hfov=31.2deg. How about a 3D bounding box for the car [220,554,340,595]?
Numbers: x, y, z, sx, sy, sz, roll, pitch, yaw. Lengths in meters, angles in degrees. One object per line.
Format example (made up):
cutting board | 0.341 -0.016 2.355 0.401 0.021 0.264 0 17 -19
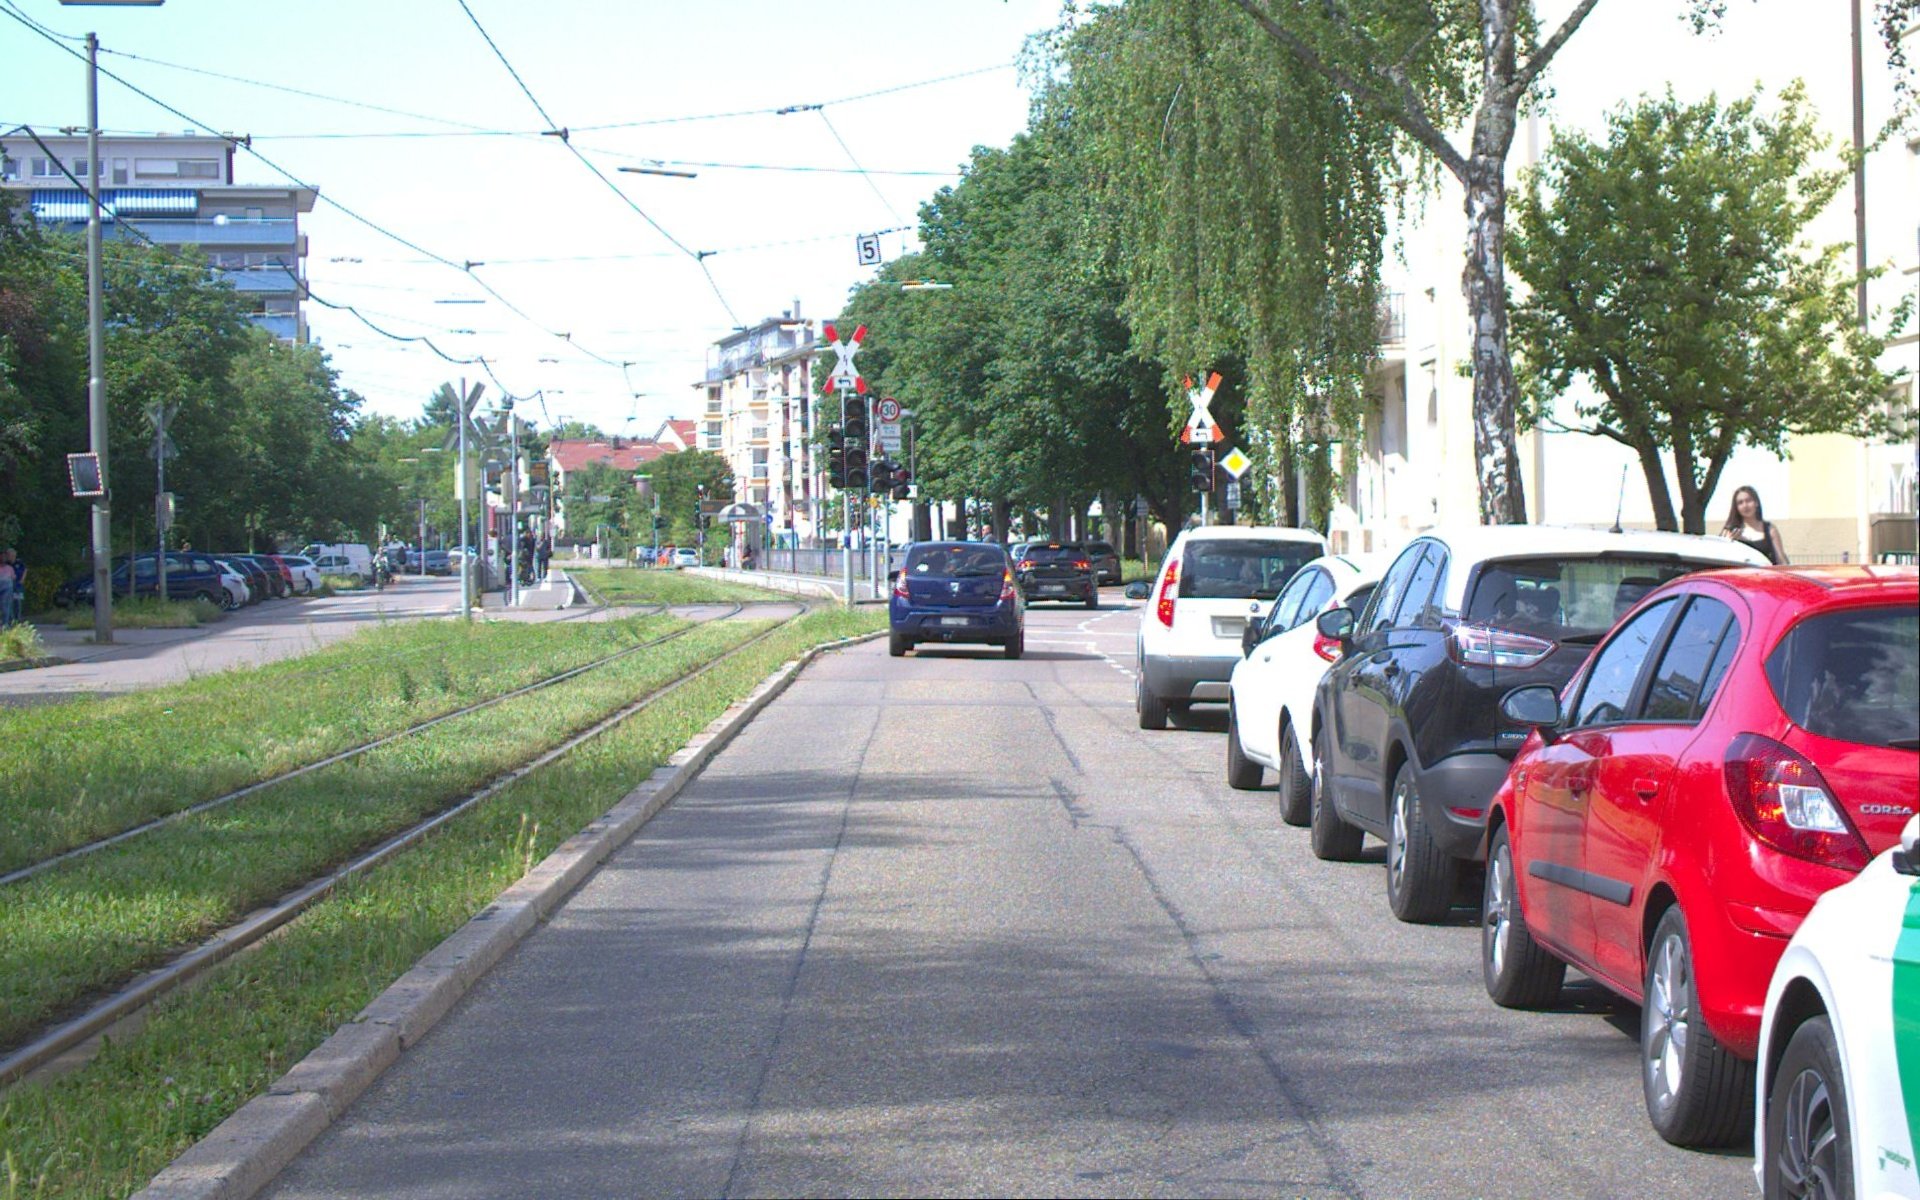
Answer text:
car | -24.842 -0.944 125.639 1.715 1.363 3.990 -1 1 43

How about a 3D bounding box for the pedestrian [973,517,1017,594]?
pedestrian | 0.813 -1.038 80.222 0.870 1.769 1.004 -2 1 -5

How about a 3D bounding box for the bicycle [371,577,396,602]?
bicycle | -22.703 -0.415 135.362 0.680 0.967 2.179 -2 1 -2

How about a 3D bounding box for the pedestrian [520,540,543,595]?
pedestrian | -14.027 -1.063 112.470 0.604 1.760 0.639 -1 1 3

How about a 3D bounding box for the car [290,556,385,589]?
car | -27.286 -1.197 150.724 1.638 1.381 3.991 0 1 39

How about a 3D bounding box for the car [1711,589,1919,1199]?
car | 2.400 0.764 5.159 1.619 1.447 3.919 3 1 0

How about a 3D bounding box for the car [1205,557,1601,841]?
car | 2.428 0.487 19.689 1.672 1.412 3.795 2 1 -1

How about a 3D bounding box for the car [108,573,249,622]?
car | -20.978 -0.078 92.333 3.380 1.232 1.543 -2 1 -45

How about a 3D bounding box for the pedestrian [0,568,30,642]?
pedestrian | -20.504 0.117 73.857 0.745 1.568 0.889 -1 -1 3

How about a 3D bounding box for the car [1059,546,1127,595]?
car | 4.154 -0.940 108.038 1.861 1.440 4.000 -3 1 -1

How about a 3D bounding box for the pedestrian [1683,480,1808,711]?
pedestrian | 5.889 -0.036 25.813 0.730 1.677 0.691 -3 1 3

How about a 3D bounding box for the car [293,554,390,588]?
car | -28.067 -1.320 156.063 3.988 1.442 1.727 -2 1 -40

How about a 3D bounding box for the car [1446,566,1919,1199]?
car | 2.510 0.668 9.940 1.589 1.447 3.844 3 1 0

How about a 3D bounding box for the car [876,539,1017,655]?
car | -0.141 -0.065 45.222 1.768 1.457 3.775 0 1 1

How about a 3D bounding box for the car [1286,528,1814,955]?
car | 2.396 0.504 14.795 1.493 1.574 3.759 1 1 -2

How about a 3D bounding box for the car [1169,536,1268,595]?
car | 6.594 -0.895 87.912 1.765 1.428 3.905 -2 1 -7

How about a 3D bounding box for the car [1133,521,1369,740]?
car | 2.316 0.204 28.162 1.721 1.624 4.000 2 1 3

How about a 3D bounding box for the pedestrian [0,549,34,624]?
pedestrian | -21.033 -0.299 76.551 0.557 1.651 0.747 -1 0 3

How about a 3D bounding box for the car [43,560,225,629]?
car | -20.677 -0.155 86.159 4.122 1.635 1.724 -2 1 -45

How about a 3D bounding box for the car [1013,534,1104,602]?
car | 2.080 -0.692 73.187 1.700 1.363 3.515 1 1 -2

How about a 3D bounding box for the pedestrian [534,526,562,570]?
pedestrian | -13.571 -1.705 113.241 0.655 1.421 0.562 -1 1 31
